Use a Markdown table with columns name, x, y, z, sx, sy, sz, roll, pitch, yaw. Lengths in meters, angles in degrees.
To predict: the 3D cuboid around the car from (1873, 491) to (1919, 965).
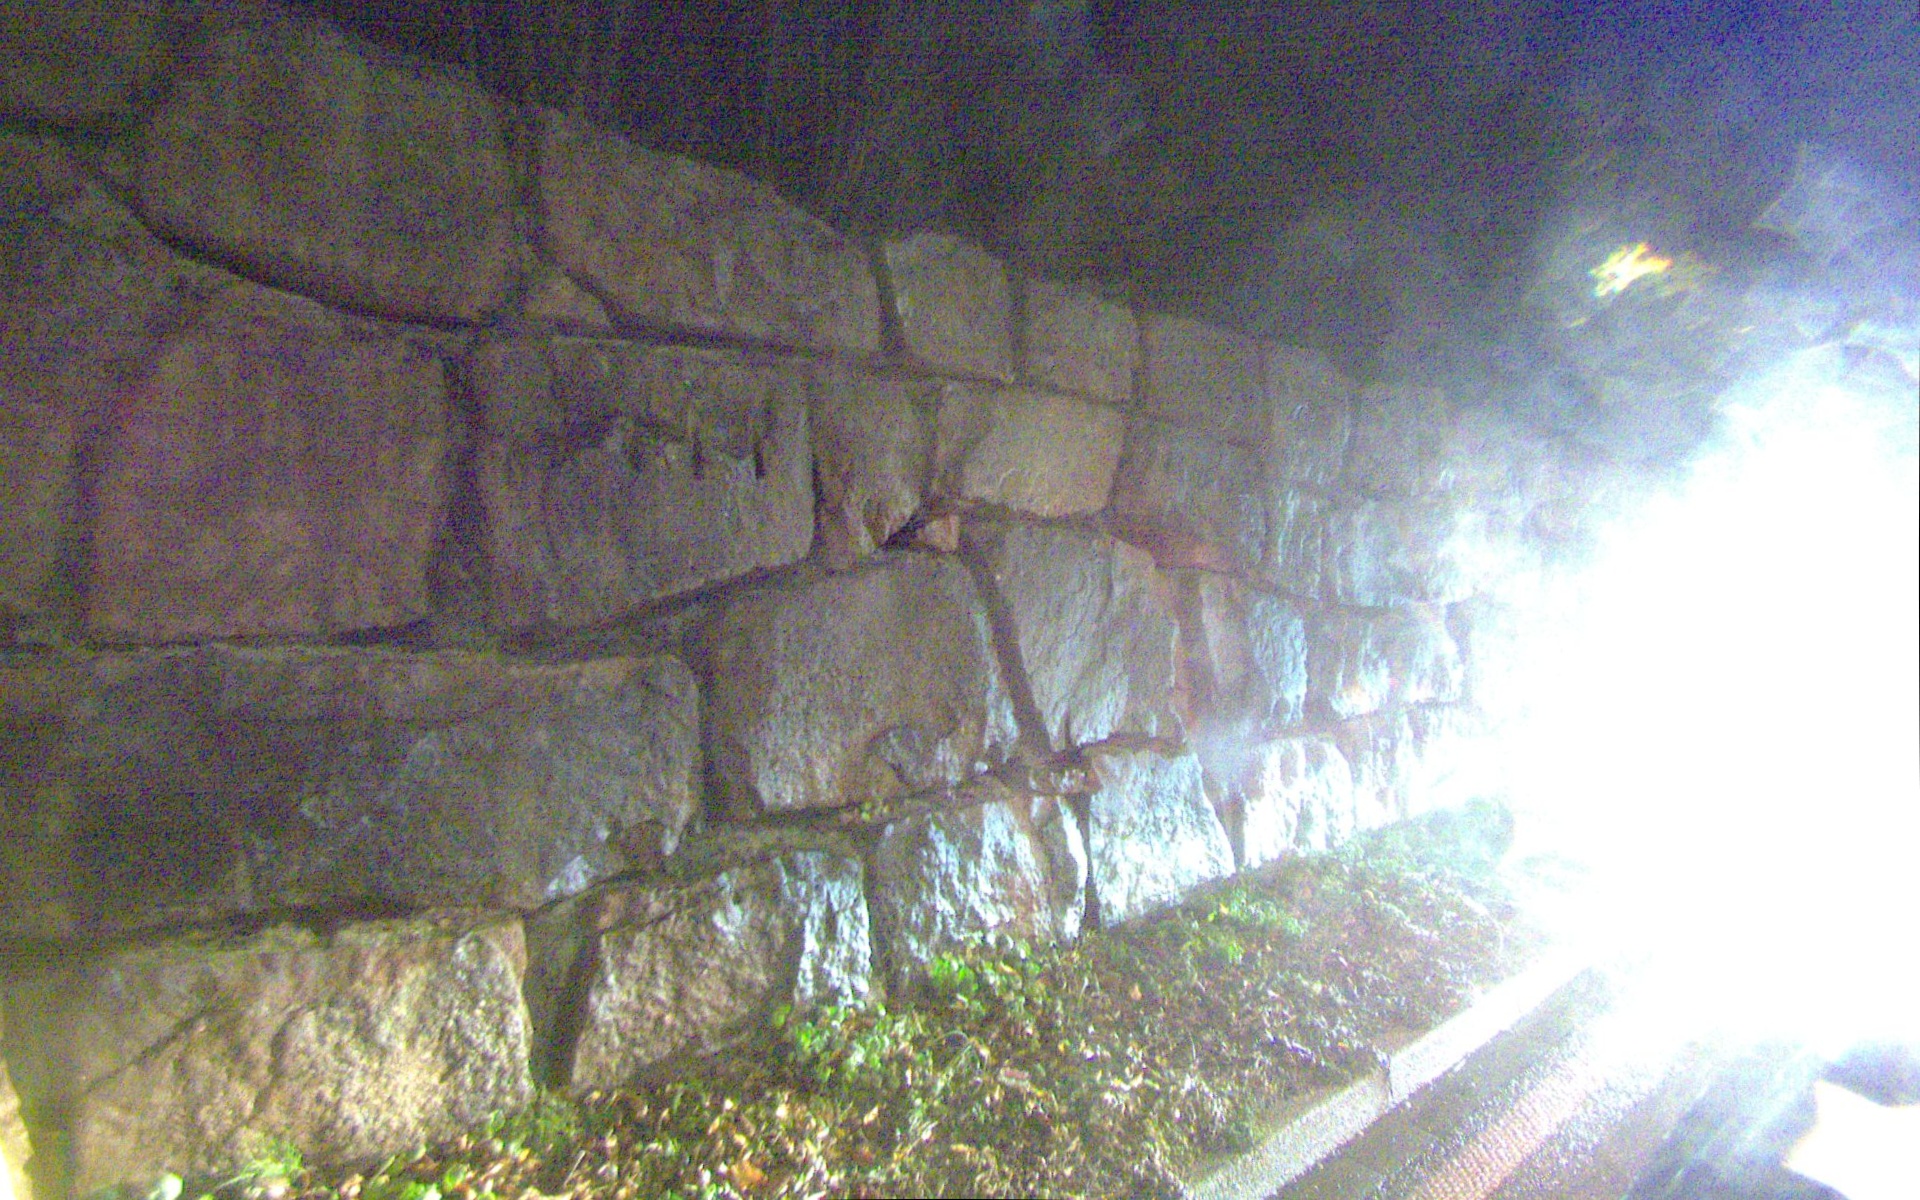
| name | x | y | z | sx | sy | sz | roll | pitch | yaw |
| --- | --- | --- | --- | --- | --- | --- | --- | --- | --- |
| car | 5.882 | 0.510 | 4.607 | 4.128 | 1.858 | 1.877 | 0 | 1 | -38 |
